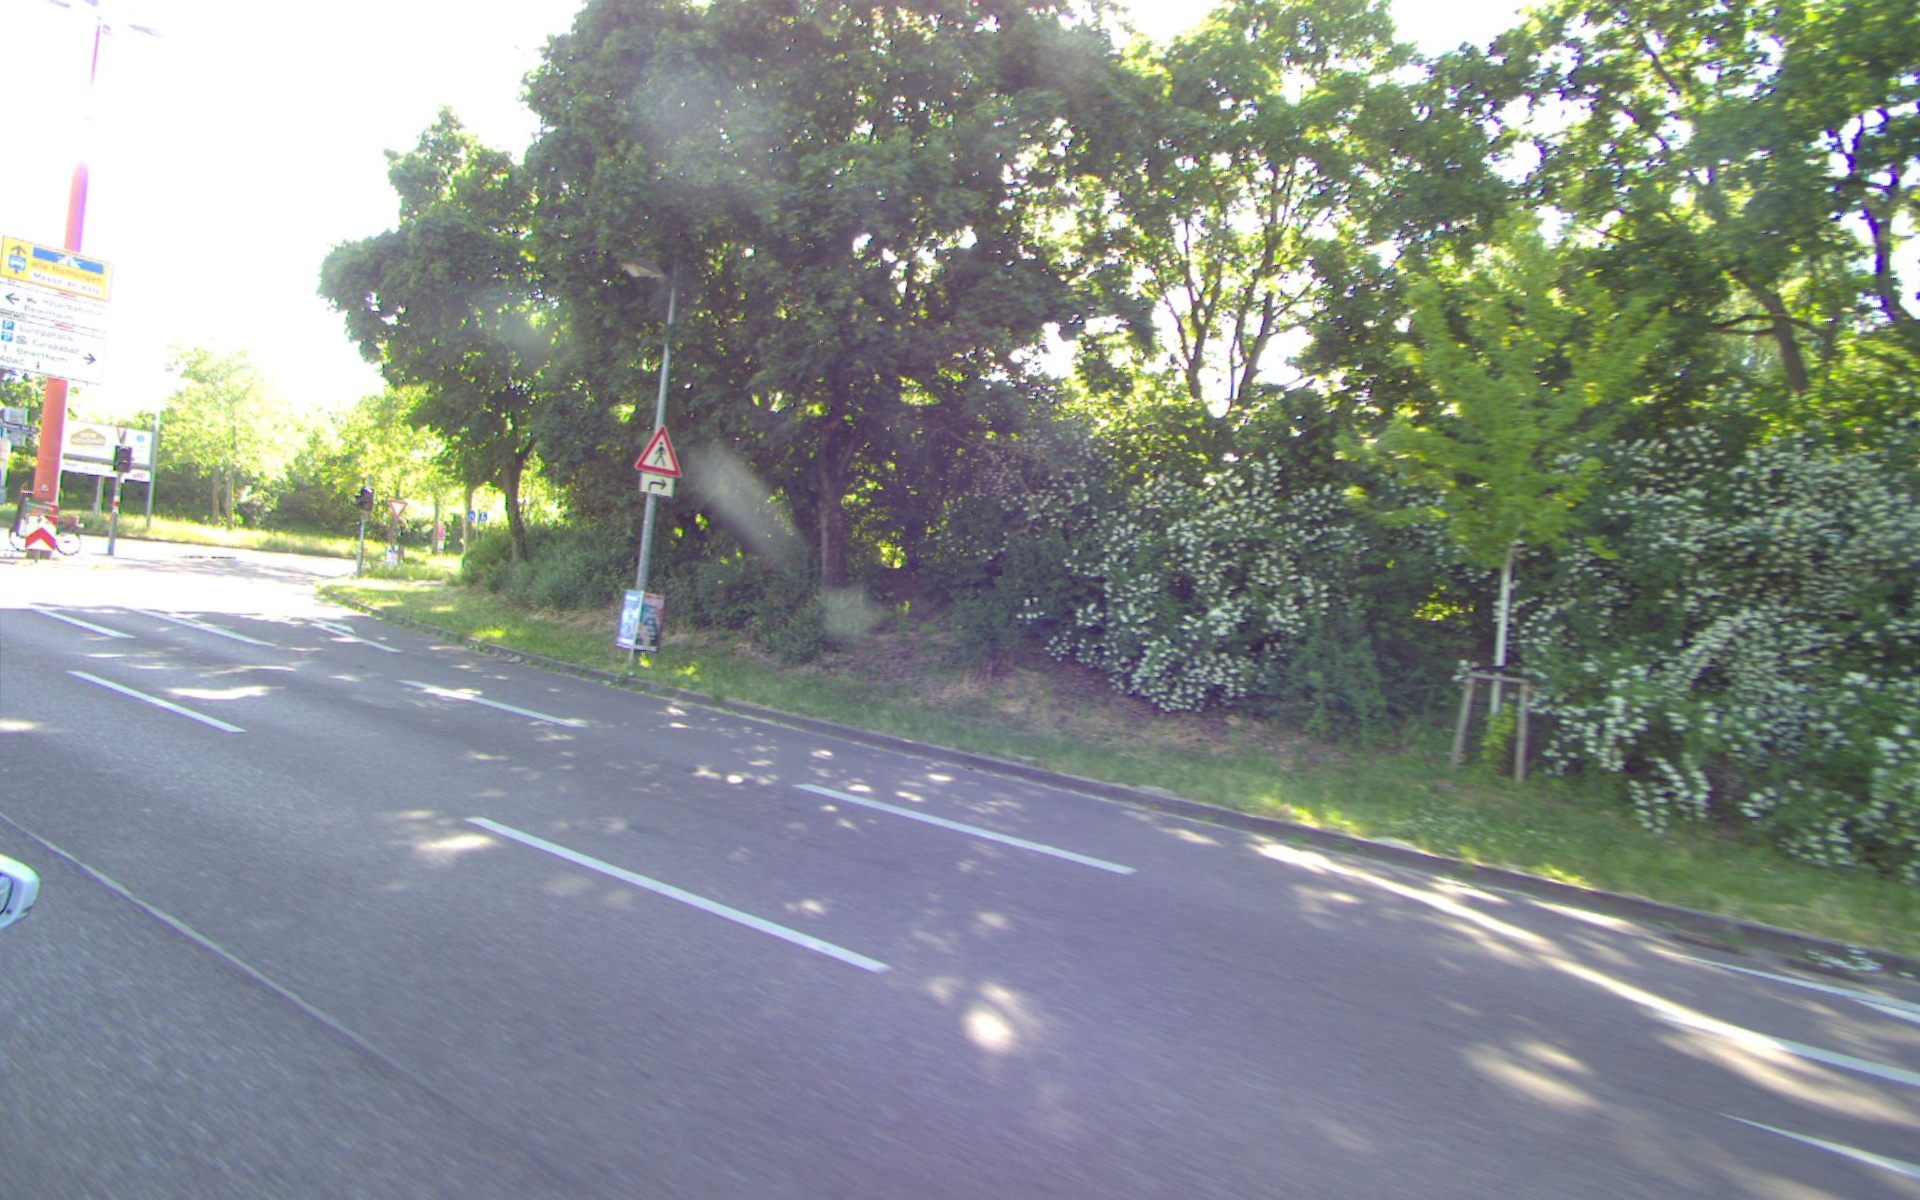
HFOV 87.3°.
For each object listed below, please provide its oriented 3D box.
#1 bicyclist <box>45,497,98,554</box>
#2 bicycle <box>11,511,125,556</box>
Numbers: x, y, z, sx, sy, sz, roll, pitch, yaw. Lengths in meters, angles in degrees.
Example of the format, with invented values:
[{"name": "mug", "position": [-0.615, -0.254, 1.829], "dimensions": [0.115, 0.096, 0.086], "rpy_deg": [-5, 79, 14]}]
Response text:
[{"name": "bicyclist", "position": [-23.570, -1.976, 26.692], "dimensions": [0.695, 1.358, 0.742], "rpy_deg": [7, 0, 23]}, {"name": "bicycle", "position": [-23.605, -1.741, 26.681], "dimensions": [0.550, 0.889, 2.166], "rpy_deg": [7, 0, 26]}]
